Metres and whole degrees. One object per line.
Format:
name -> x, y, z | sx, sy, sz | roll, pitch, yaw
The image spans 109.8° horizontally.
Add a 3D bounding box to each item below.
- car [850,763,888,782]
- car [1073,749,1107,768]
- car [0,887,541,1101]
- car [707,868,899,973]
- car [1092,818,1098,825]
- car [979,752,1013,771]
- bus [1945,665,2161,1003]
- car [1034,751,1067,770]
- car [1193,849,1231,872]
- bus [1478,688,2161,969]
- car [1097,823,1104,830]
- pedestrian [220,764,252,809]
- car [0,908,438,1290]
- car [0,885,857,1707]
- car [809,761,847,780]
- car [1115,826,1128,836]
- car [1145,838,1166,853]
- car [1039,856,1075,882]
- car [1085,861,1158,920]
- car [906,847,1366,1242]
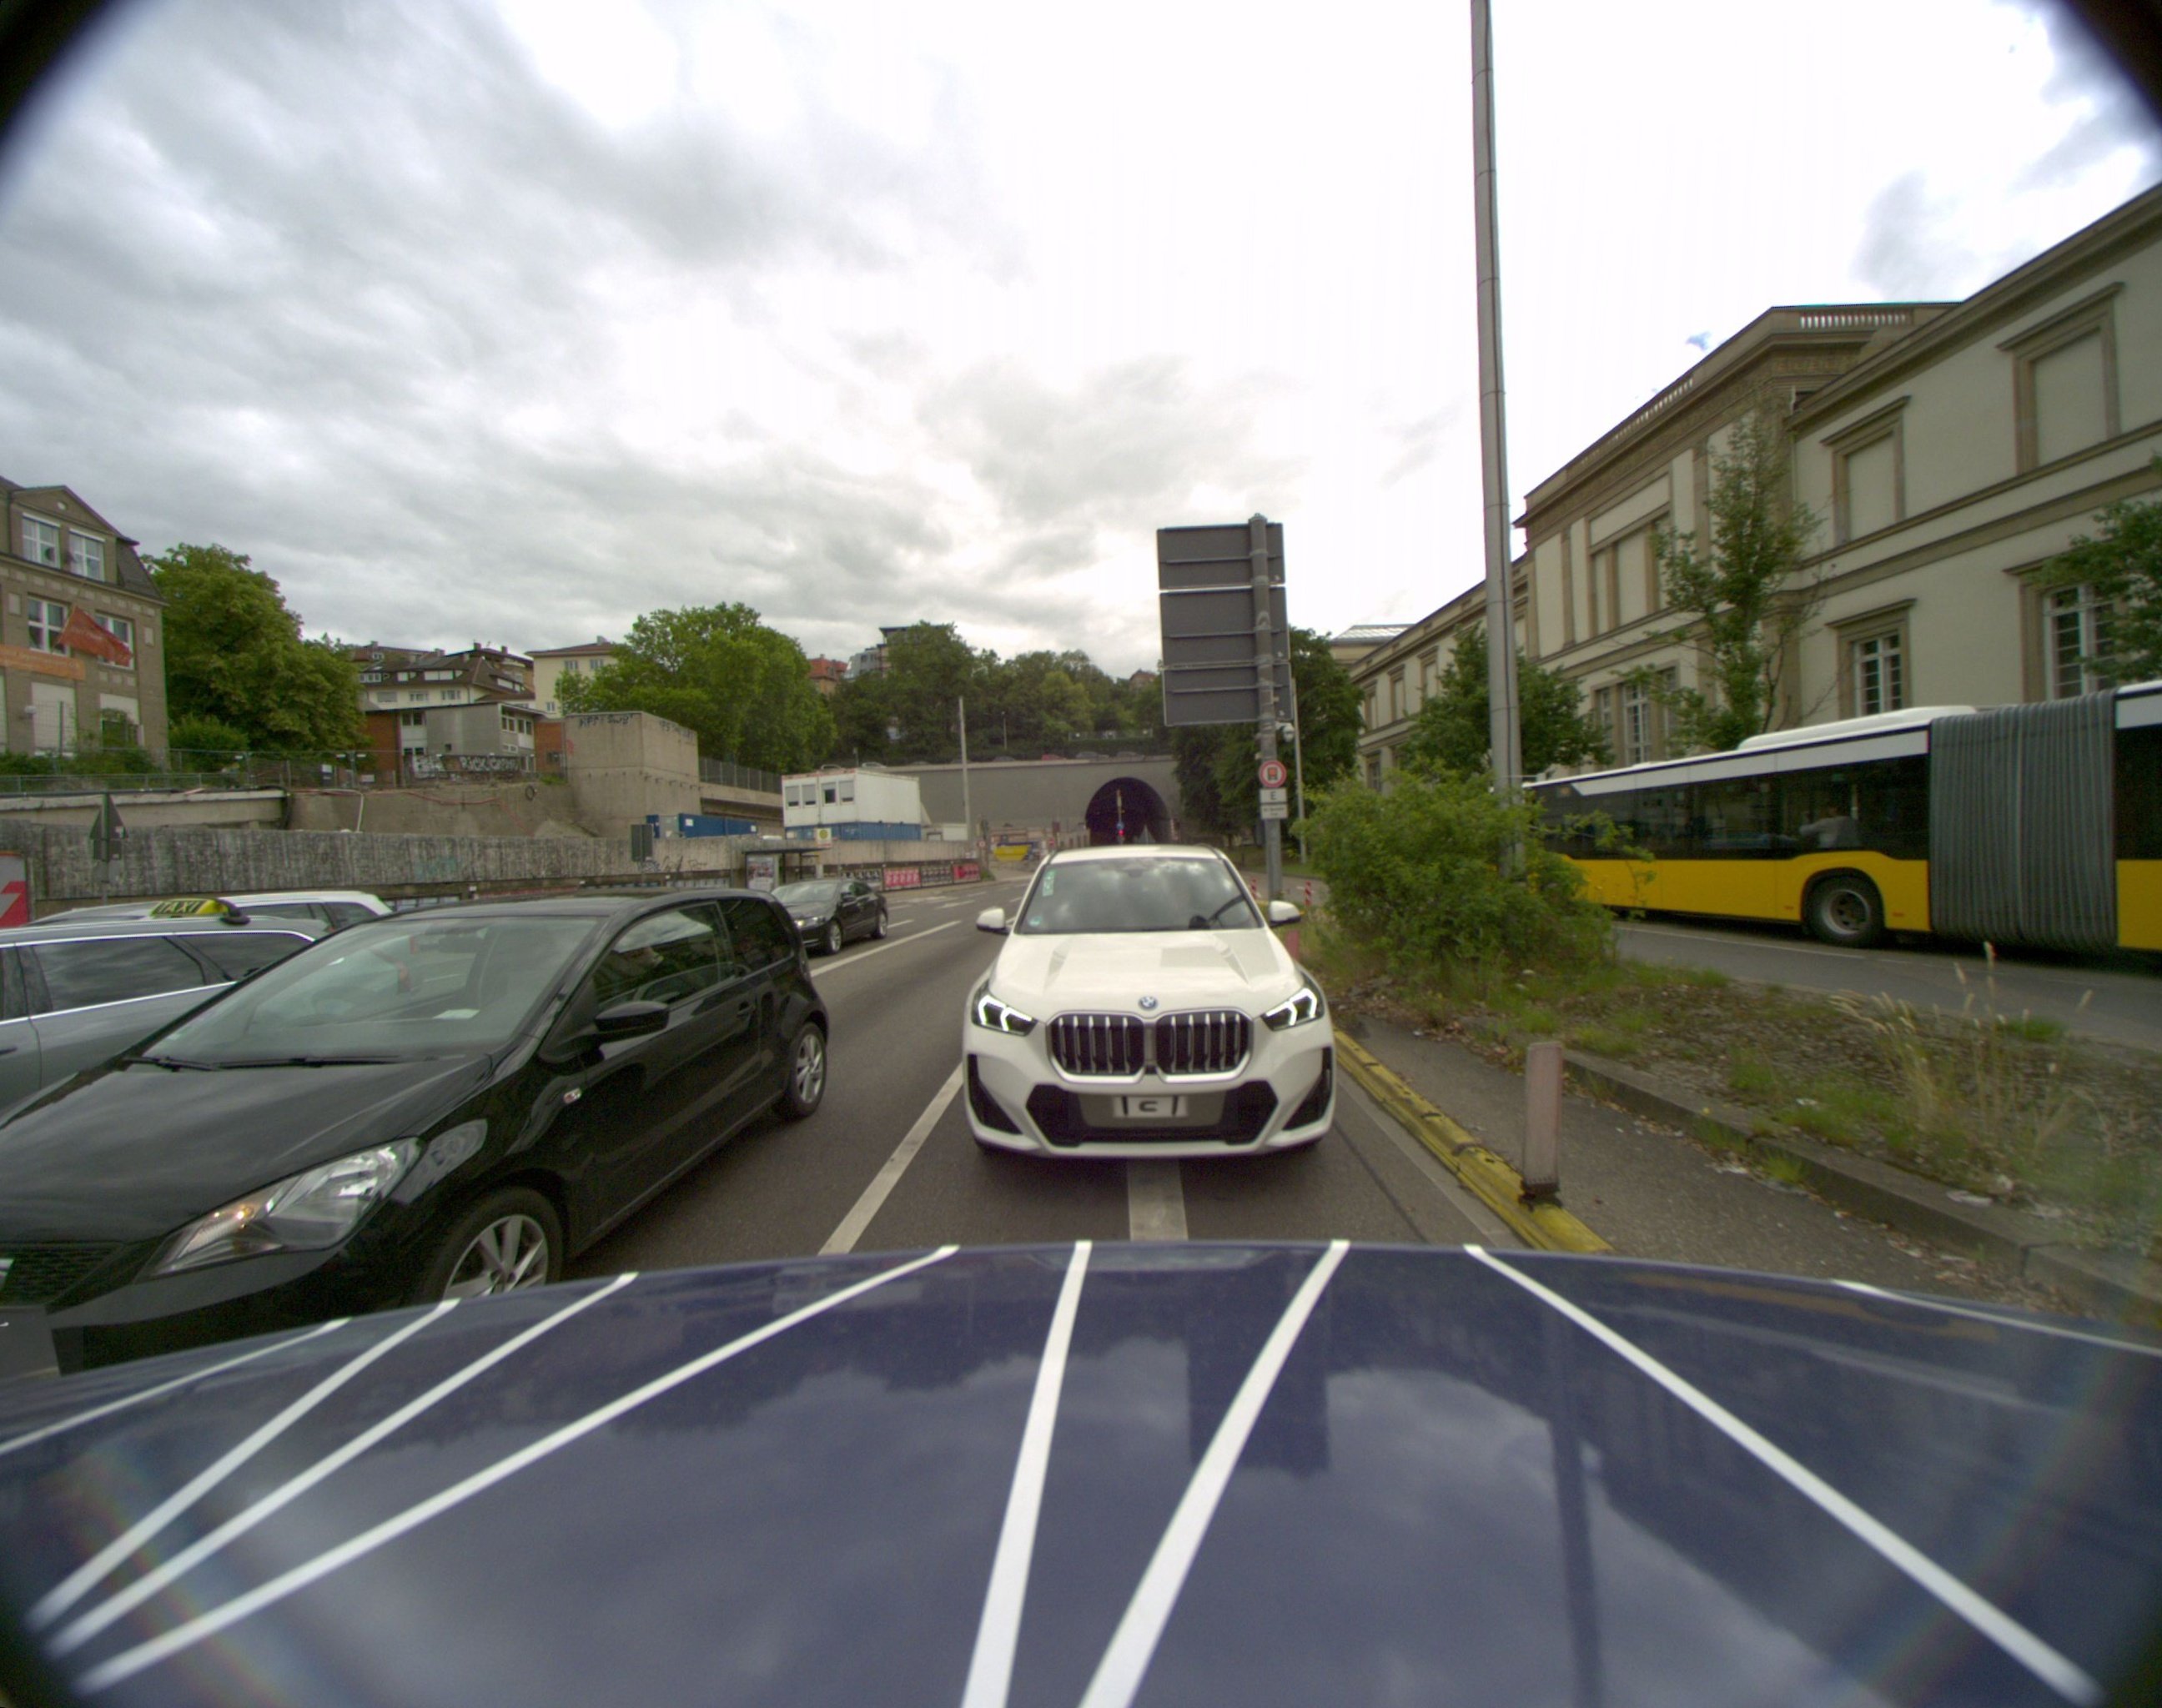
car -> -26.022, -10.057, 93.373 | 3.998, 2.002, 1.999 | -2, 1, -5
car -> 1.093, -11.812, 94.488 | 3.998, 2.002, 1.999 | -2, 1, -2
car -> -8.928, 1.318, 8.780 | 1.704, 1.550, 4.552 | -3, 0, 7
car -> -5.173, 1.153, 14.884 | 1.704, 1.550, 4.552 | -3, 0, 5
car -> 3.954, -8.936, 210.136 | 1.667, 1.582, 3.882 | -1, 0, 2
car -> -10.492, -11.385, 94.008 | 3.998, 2.002, 1.999 | -2, 1, -2
bus -> 11.332, -0.233, 4.098 | 2.853, 3.096, 9.121 | -3, 0, 0
car -> -3.785, -11.633, 94.404 | 3.998, 2.002, 1.999 | -2, 1, -2
car -> 9.145, 0.432, 53.433 | 1.705, 1.463, 4.629 | -3, 0, -1
bus -> 11.213, -0.306, 13.559 | 2.853, 3.096, 9.747 | -3, 0, -1
car -> 4.846, -6.869, 187.263 | 1.667, 1.582, 3.882 | -1, 0, 2
pedestrian -> -39.341, -3.131, 35.370 | 0.646, 2.002, 0.666 | -2, 1, -3
car -> -5.875, 1.248, 3.387 | 1.826, 1.562, 4.654 | -3, 0, 3
car -> -2.509, 1.007, 3.411 | 1.667, 1.487, 3.882 | -3, 0, 2
car -> -31.072, -10.245, 93.309 | 3.998, 2.002, 1.999 | -2, 1, -5
car -> 6.718, -3.824, 125.973 | 1.711, 1.505, 4.287 | 0, 0, -3
car -> 8.072, -0.903, 82.595 | 1.701, 1.580, 3.882 | -3, 0, -1
car -> -1.460, 0.915, 48.342 | 1.730, 1.435, 4.001 | -3, 0, 5
car -> 1.016, 0.912, 20.678 | 1.728, 1.310, 4.000 | -3, 0, 1
car -> 0.292, 0.803, 5.122 | 1.848, 1.581, 3.882 | -3, 0, 2
